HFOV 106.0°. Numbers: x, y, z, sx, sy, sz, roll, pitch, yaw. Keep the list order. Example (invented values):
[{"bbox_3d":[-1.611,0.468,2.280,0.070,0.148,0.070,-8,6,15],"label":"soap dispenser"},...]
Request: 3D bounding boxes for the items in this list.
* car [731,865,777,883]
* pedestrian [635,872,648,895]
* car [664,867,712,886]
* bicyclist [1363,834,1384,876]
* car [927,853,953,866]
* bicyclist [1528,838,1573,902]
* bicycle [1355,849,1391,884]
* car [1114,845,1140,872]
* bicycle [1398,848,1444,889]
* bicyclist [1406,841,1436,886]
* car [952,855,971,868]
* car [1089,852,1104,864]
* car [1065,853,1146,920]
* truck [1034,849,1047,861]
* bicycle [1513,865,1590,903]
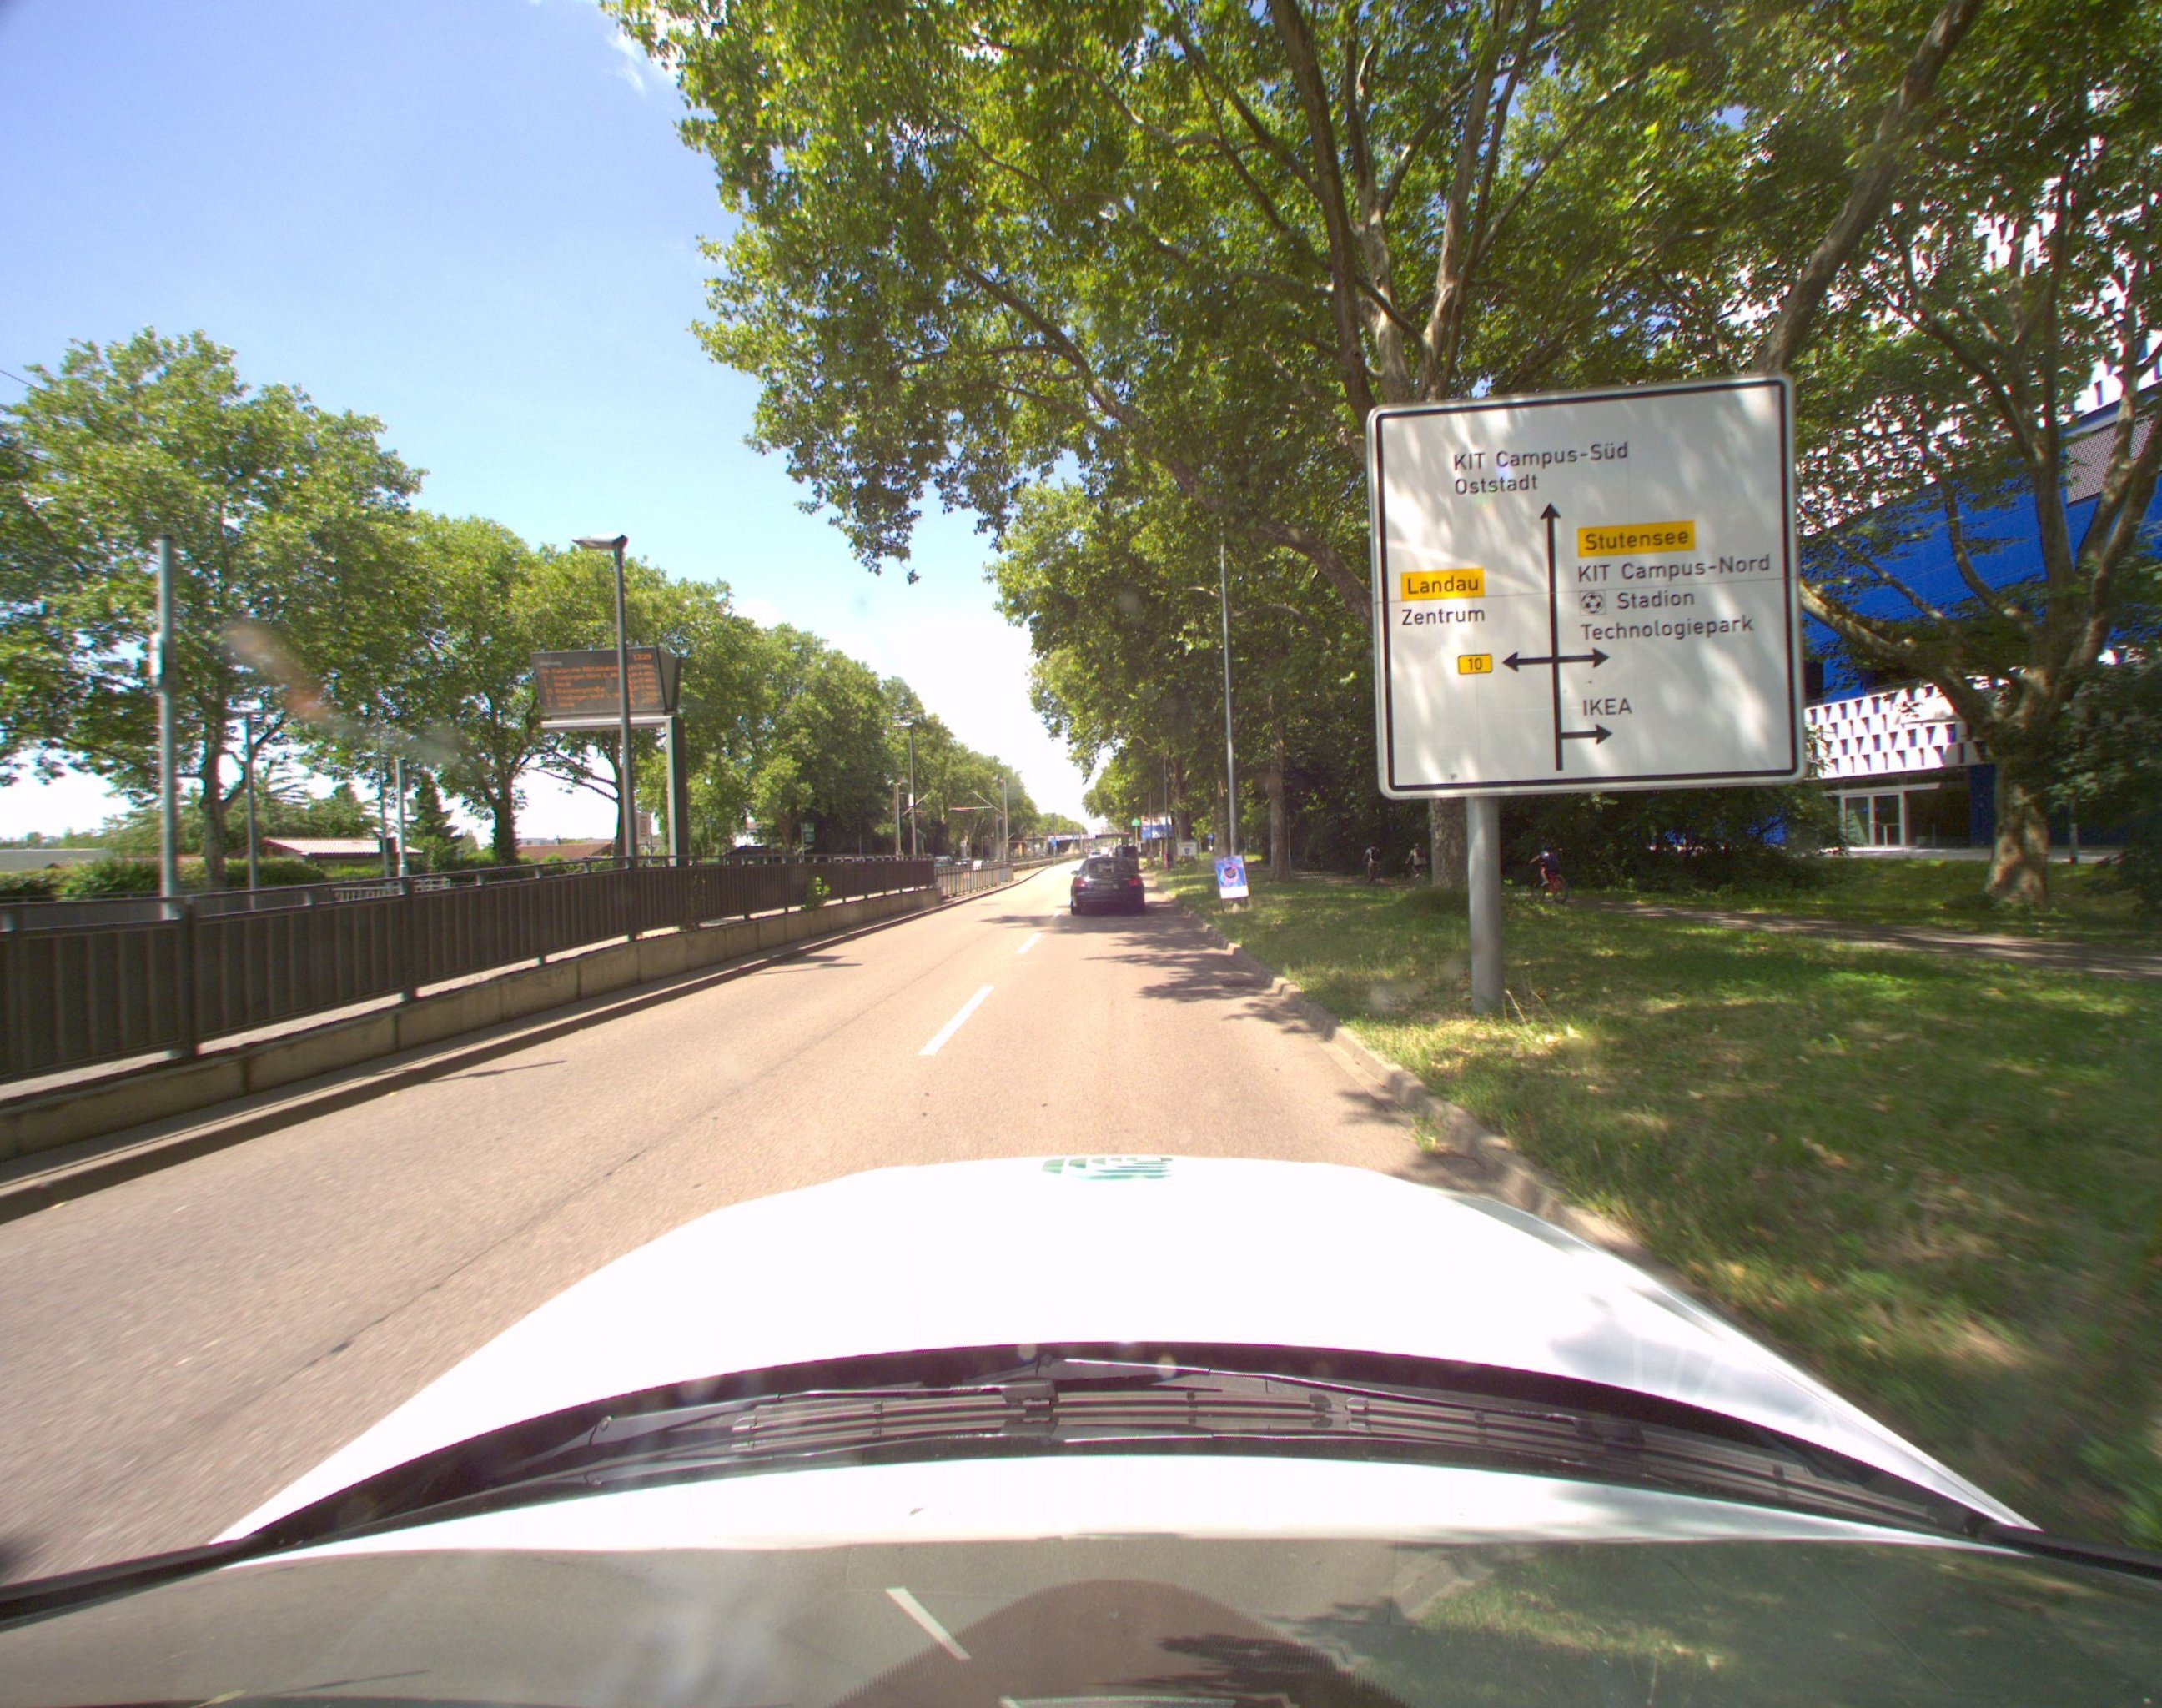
[{"bbox_3d":[-28.279,1.712,70.550,3.316,1.475,1.649,-2,0,-9],"label":"car"},{"bbox_3d":[-28.523,1.883,52.832,0.556,1.452,0.643,-2,0,-12],"label":"pedestrian"},{"bbox_3d":[-33.406,1.940,69.319,3.316,1.475,1.649,-2,0,-9],"label":"car"},{"bbox_3d":[12.487,0.048,34.749,0.595,1.746,0.844,-1,0,2],"label":"bicyclist"},{"bbox_3d":[-14.344,0.519,82.938,1.638,1.265,3.842,-2,0,4],"label":"car"},{"bbox_3d":[12.206,0.412,21.178,0.622,1.610,0.815,-2,0,-6],"label":"bicyclist"},{"bbox_3d":[12.474,0.516,34.893,0.608,1.420,2.663,-2,0,2],"label":"bicycle"},{"bbox_3d":[3.567,0.348,62.525,1.840,1.959,4.149,-1,0,4],"label":"car"},{"bbox_3d":[12.372,0.494,29.747,0.608,1.420,2.663,-2,0,2],"label":"bicycle"},{"bbox_3d":[12.381,0.346,29.670,0.656,1.599,1.054,-2,0,2],"label":"bicyclist"},{"bbox_3d":[-16.901,1.089,115.218,1.736,1.684,4.389,-2,0,4],"label":"car"},{"bbox_3d":[1.987,0.480,105.436,1.839,1.464,4.000,-2,0,0],"label":"car"},{"bbox_3d":[0.646,0.760,21.011,1.835,1.484,4.002,-2,0,2],"label":"car"},{"bbox_3d":[-10.284,0.207,208.102,2.982,3.020,7.994,-2,0,-2],"label":"truck"},{"bbox_3d":[12.205,0.758,21.194,0.644,0.887,2.019,-2,0,-6],"label":"bicycle"}]
